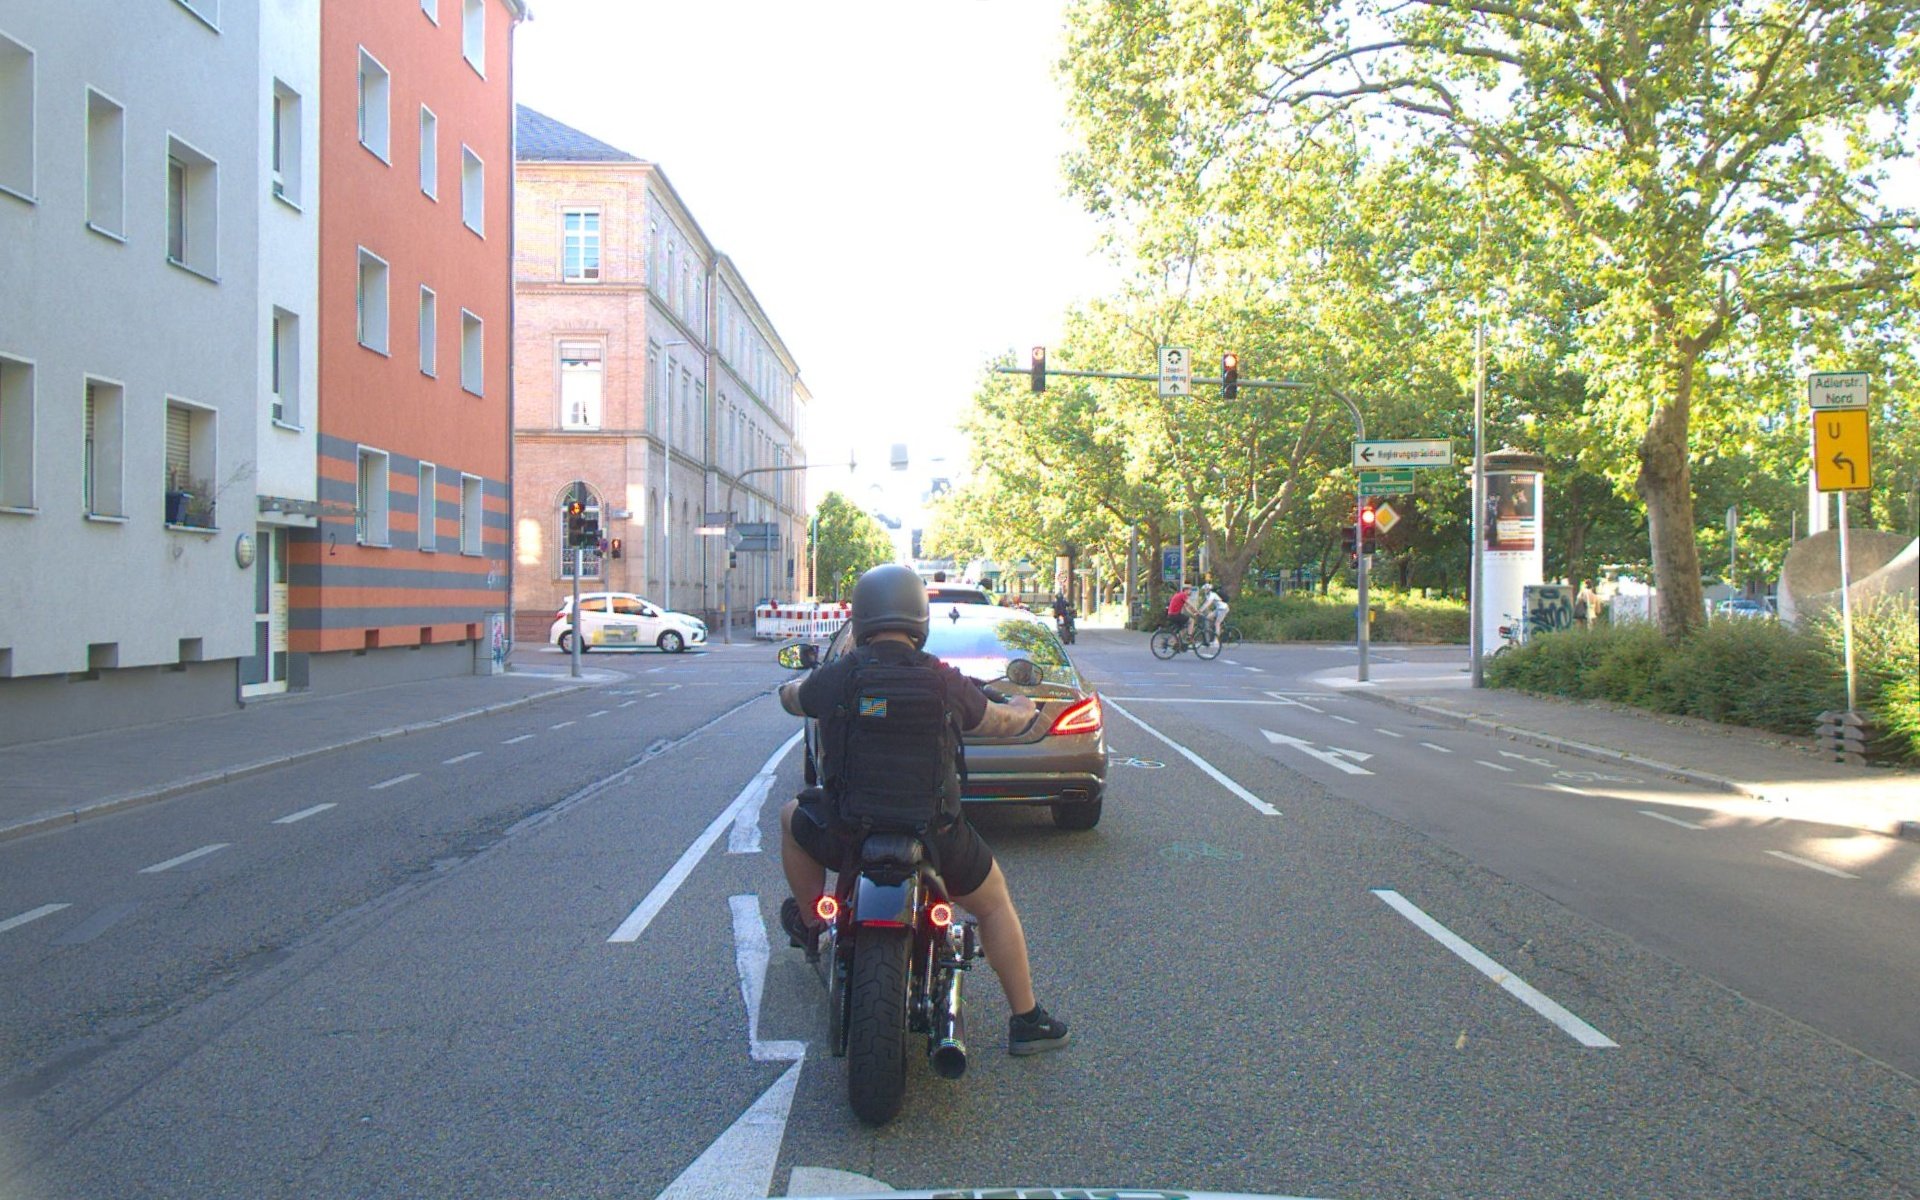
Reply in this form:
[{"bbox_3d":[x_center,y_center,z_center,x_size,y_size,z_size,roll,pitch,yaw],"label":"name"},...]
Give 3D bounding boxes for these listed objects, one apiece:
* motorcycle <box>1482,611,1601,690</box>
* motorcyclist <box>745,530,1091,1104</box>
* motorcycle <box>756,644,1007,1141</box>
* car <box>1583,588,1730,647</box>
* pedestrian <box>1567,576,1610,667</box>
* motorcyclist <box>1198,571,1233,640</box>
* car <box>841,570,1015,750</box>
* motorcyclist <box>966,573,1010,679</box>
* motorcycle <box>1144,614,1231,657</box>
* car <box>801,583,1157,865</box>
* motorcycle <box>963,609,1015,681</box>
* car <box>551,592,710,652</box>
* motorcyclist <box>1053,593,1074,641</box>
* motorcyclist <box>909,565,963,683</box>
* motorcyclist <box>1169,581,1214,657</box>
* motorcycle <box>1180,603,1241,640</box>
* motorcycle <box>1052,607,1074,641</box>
[{"bbox_3d":[9.774,0.840,27.828,1.743,1.265,0.723,1,0,4],"label":"motorcycle"},{"bbox_3d":[-0.127,0.630,5.331,0.970,1.639,1.120,1,0,-1],"label":"motorcyclist"},{"bbox_3d":[-0.222,0.805,5.422,0.646,1.261,2.057,1,0,-1],"label":"motorcycle"},{"bbox_3d":[21.990,0.545,52.298,3.907,1.803,1.737,0,0,-3],"label":"car"},{"bbox_3d":[13.048,0.436,34.334,0.634,1.859,0.667,0,0,-1],"label":"pedestrian"},{"bbox_3d":[7.213,0.155,46.684,0.962,1.909,0.376,0,-1,3],"label":"motorcyclist"},{"bbox_3d":[-0.331,0.574,17.667,1.618,1.681,3.999,1,0,-1],"label":"car"},{"bbox_3d":[0.472,0.436,28.004,0.702,1.773,0.751,1,-1,-1],"label":"motorcyclist"},{"bbox_3d":[5.359,0.834,39.005,1.971,0.979,0.580,1,0,0],"label":"motorcycle"},{"bbox_3d":[-0.089,0.685,11.131,1.790,1.512,4.326,1,0,-7],"label":"car"},{"bbox_3d":[0.474,0.731,27.955,0.781,1.151,2.236,1,0,-1],"label":"motorcycle"},{"bbox_3d":[-8.119,0.532,40.920,3.670,1.442,1.439,0,0,-3],"label":"car"},{"bbox_3d":[3.464,0.571,55.495,0.629,1.564,0.943,1,0,7],"label":"motorcyclist"},{"bbox_3d":[-0.387,0.377,26.352,0.814,1.820,0.913,1,-1,-1],"label":"motorcyclist"},{"bbox_3d":[5.452,0.451,39.014,0.964,1.753,0.550,1,-1,0],"label":"motorcyclist"},{"bbox_3d":[7.074,0.598,46.701,1.683,1.019,0.416,0,0,3],"label":"motorcycle"},{"bbox_3d":[3.454,0.800,55.380,0.612,1.116,2.089,1,0,6],"label":"motorcycle"}]
